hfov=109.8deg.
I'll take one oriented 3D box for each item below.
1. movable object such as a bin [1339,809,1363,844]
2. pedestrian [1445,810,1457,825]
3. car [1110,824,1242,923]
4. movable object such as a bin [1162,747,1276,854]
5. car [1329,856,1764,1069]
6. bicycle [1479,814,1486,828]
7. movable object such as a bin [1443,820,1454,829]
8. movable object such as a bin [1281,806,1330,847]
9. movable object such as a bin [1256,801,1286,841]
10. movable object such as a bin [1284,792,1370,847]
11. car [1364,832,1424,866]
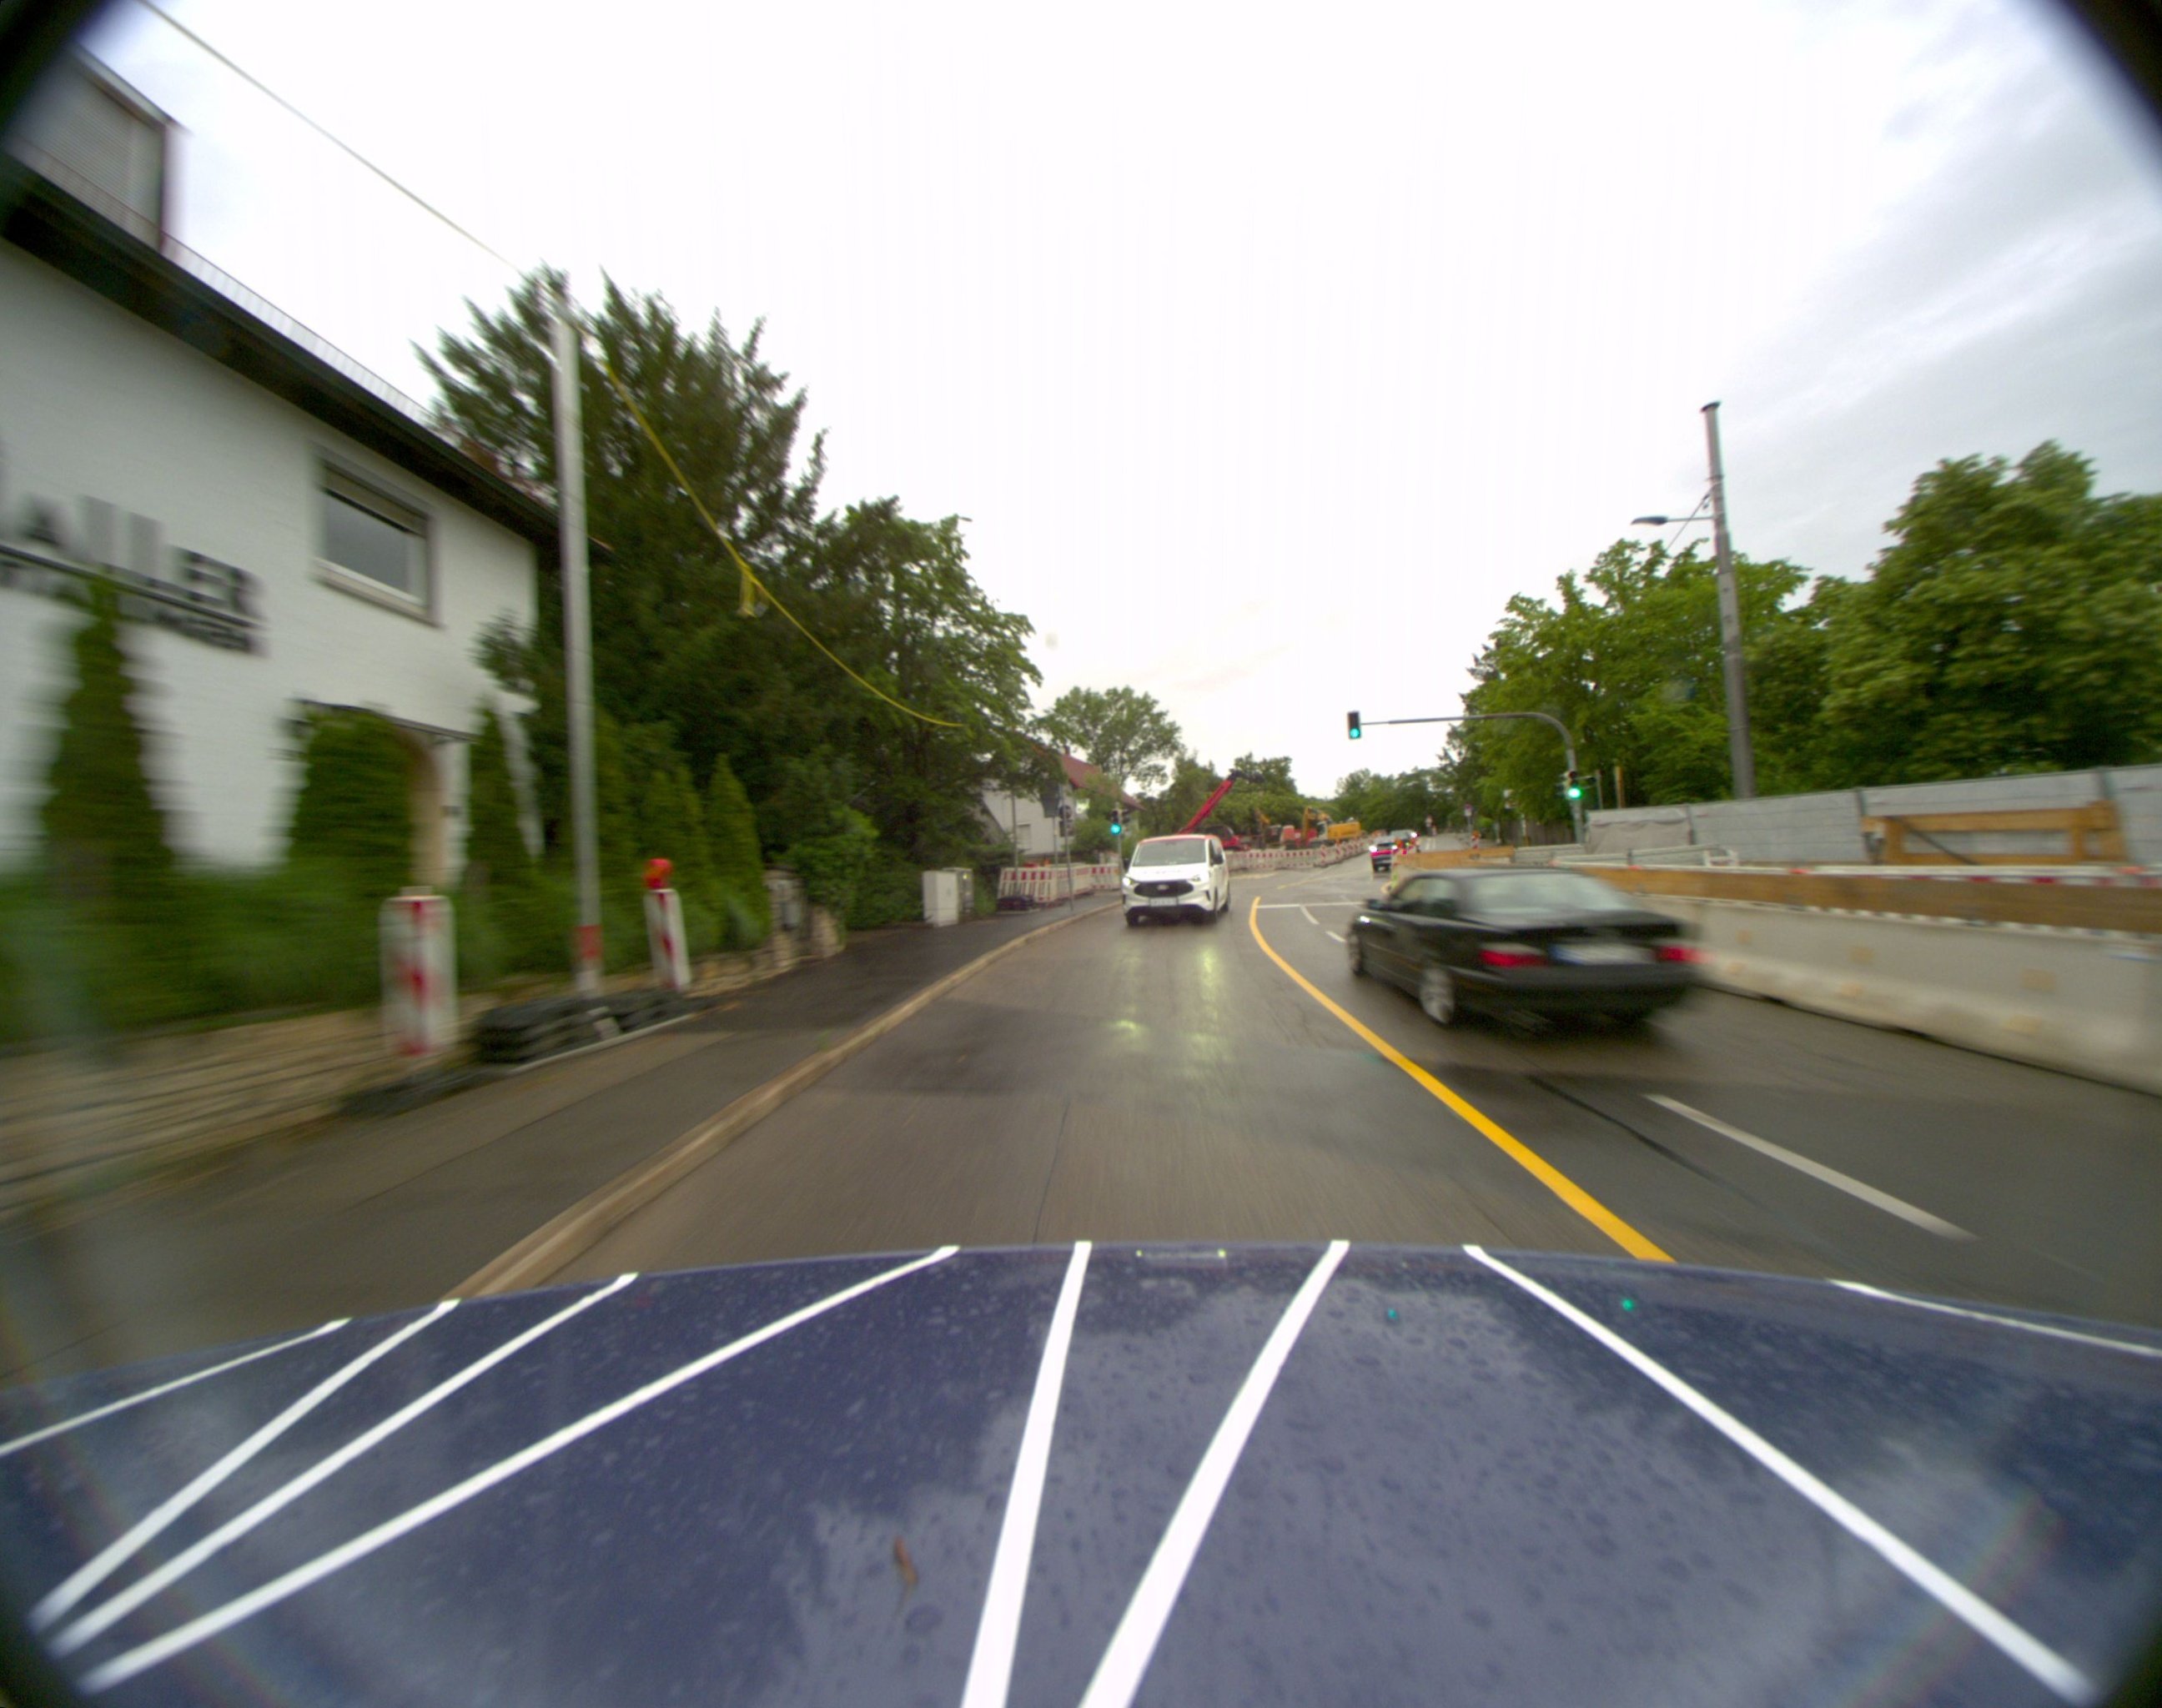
[{"bbox_3d":[28.401,-2.955,79.826,1.996,3.287,3.838,-5,3,21],"label":"movable object such as a bin"},{"bbox_3d":[48.834,-4.827,100.320,0.925,1.757,0.980,-4,0,-4],"label":"pedestrian"},{"bbox_3d":[2.422,0.354,17.924,1.995,2.002,4.955,-1,1,20],"label":"car"},{"bbox_3d":[9.829,-3.662,54.018,6.958,6.651,3.049,-5,1,21],"label":"movable object such as a bin"},{"bbox_3d":[3.793,0.729,7.208,1.652,1.304,4.263,0,1,3],"label":"car"},{"bbox_3d":[39.488,-3.231,74.793,0.421,1.342,1.744,-5,2,25],"label":"bicycle"},{"bbox_3d":[51.223,-4.077,105.883,0.988,1.100,1.028,-3,-1,5],"label":"movable object such as a bin"},{"bbox_3d":[20.939,-2.541,70.991,3.993,3.182,2.412,-6,-5,16],"label":"movable object such as a bin"},{"bbox_3d":[19.847,-3.381,79.076,1.996,3.866,4.623,-5,0,23],"label":"movable object such as a bin"},{"bbox_3d":[24.711,-3.444,77.060,3.067,4.892,10.805,-7,3,-11],"label":"movable object such as a bin"},{"bbox_3d":[15.140,-0.269,36.640,1.785,1.395,4.373,-4,0,33],"label":"car"}]
